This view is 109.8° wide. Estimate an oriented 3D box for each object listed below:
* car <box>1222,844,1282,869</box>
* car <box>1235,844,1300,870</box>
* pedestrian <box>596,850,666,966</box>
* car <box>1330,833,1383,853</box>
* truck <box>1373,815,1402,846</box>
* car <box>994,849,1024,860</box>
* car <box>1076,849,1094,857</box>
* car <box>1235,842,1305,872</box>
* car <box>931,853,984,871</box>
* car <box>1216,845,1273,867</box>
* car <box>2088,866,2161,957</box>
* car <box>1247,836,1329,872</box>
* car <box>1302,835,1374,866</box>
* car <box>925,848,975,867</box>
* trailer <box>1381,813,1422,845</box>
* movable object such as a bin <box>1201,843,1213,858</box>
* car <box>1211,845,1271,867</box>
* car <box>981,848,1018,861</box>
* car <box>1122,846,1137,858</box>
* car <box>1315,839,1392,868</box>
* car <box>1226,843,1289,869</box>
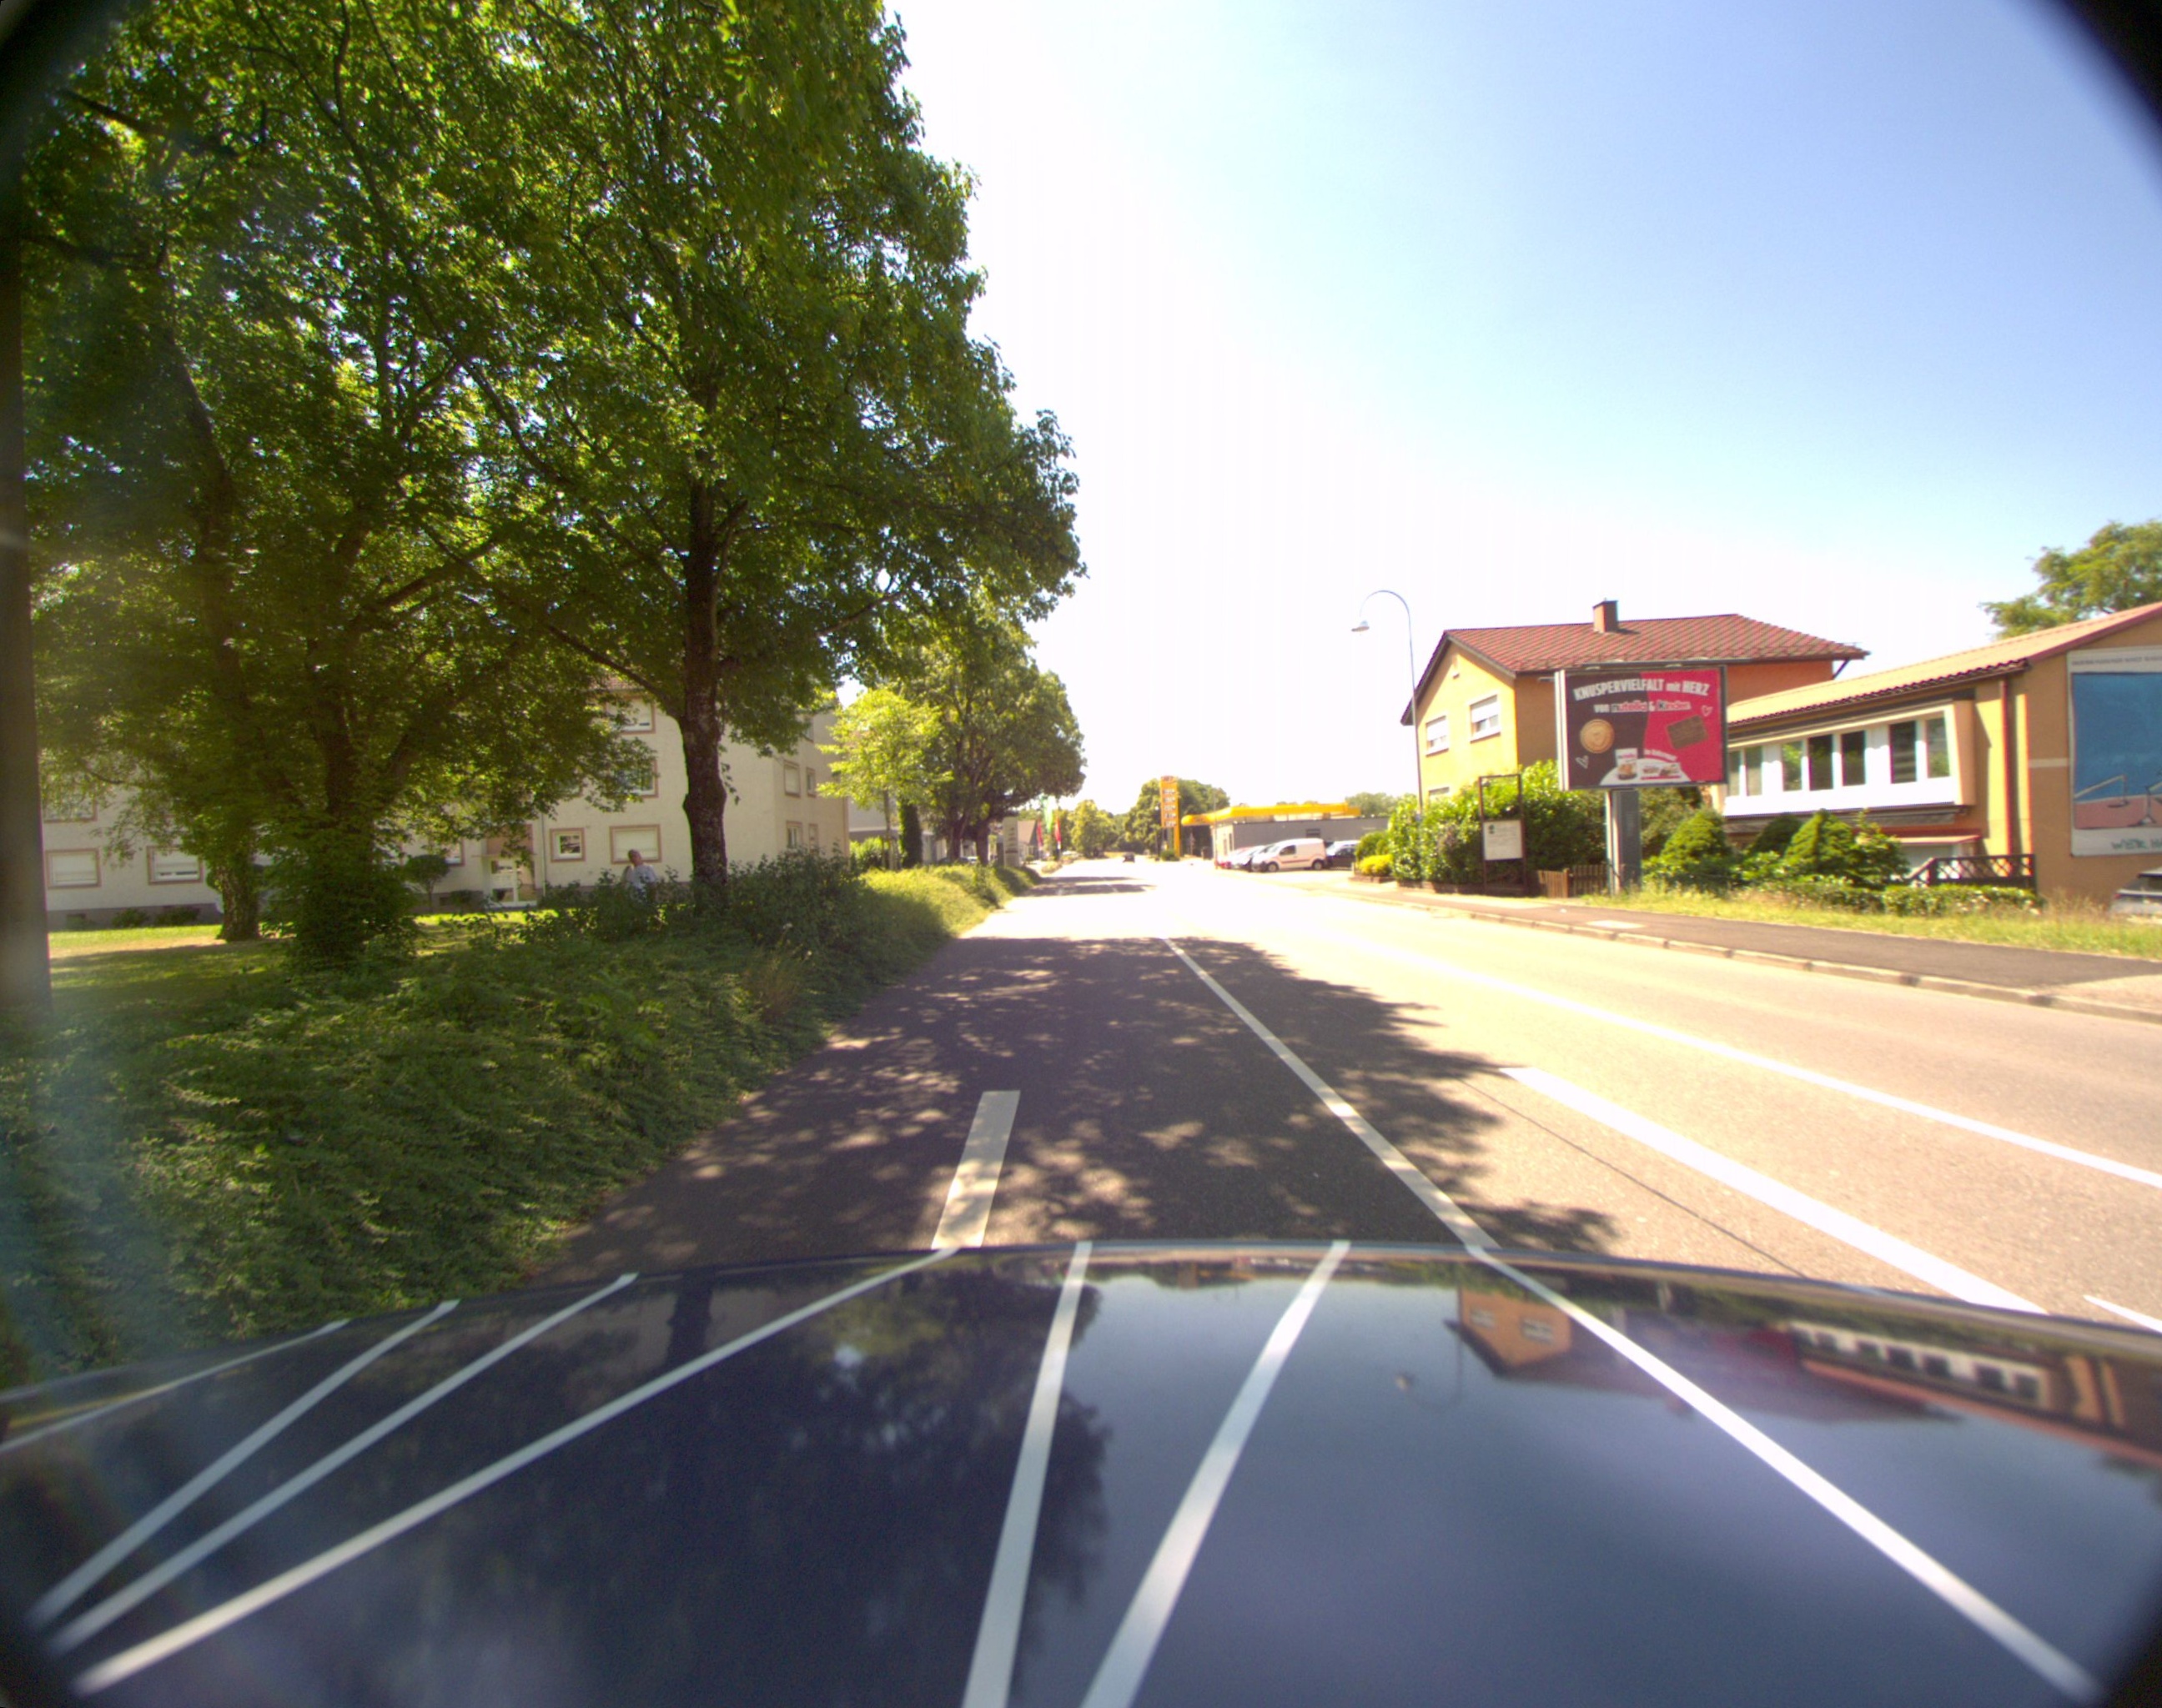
[{"bbox_3d":[11.874,0.141,52.980,3.673,1.596,1.881,-2,1,-2],"label":"car"},{"bbox_3d":[11.917,0.183,48.680,3.673,1.523,1.922,-2,1,-2],"label":"car"},{"bbox_3d":[-7.621,0.895,12.898,0.705,1.903,0.660,-2,1,3],"label":"pedestrian"},{"bbox_3d":[24.382,-1.008,67.306,3.996,1.575,1.754,-2,1,2],"label":"car"},{"bbox_3d":[34.317,-2.614,85.052,1.850,3.223,3.189,-2,0,1],"label":"truck"},{"bbox_3d":[-10.530,0.143,111.265,3.992,1.452,1.807,-2,1,16],"label":"car"},{"bbox_3d":[0.848,-0.148,149.724,3.405,1.498,1.582,-1,1,2],"label":"car"},{"bbox_3d":[11.503,0.160,46.409,3.673,1.663,1.922,-2,1,-2],"label":"car"},{"bbox_3d":[-11.371,0.714,69.912,4.362,1.363,1.952,-3,1,-22],"label":"car"},{"bbox_3d":[11.919,0.112,55.581,3.673,1.449,1.892,-2,1,-2],"label":"car"},{"bbox_3d":[19.747,0.911,12.350,4.035,1.442,1.780,-1,1,6],"label":"car"},{"bbox_3d":[12.028,0.011,44.310,4.105,1.887,1.999,-2,1,-4],"label":"car"},{"bbox_3d":[16.419,-0.229,48.645,3.912,1.850,1.999,-2,1,-1],"label":"car"},{"bbox_3d":[-11.429,0.266,66.288,3.997,1.541,1.797,-1,1,0],"label":"car"},{"bbox_3d":[34.258,-2.626,81.423,1.869,3.201,5.913,-2,0,1],"label":"trailer"},{"bbox_3d":[13.421,-0.385,81.114,0.954,1.508,1.428,-6,0,1],"label":"movable object such as a bin"},{"bbox_3d":[12.197,0.137,57.971,4.136,1.436,1.826,-2,1,0],"label":"car"},{"bbox_3d":[-11.152,0.100,104.503,4.586,1.632,2.002,-2,1,20],"label":"car"},{"bbox_3d":[6.640,-0.274,103.776,1.714,1.486,4.277,-2,0,0],"label":"car"},{"bbox_3d":[16.555,-0.031,46.254,3.997,1.559,1.830,-3,0,-1],"label":"car"},{"bbox_3d":[11.797,0.134,50.952,3.673,1.572,1.922,-2,1,-2],"label":"car"}]
